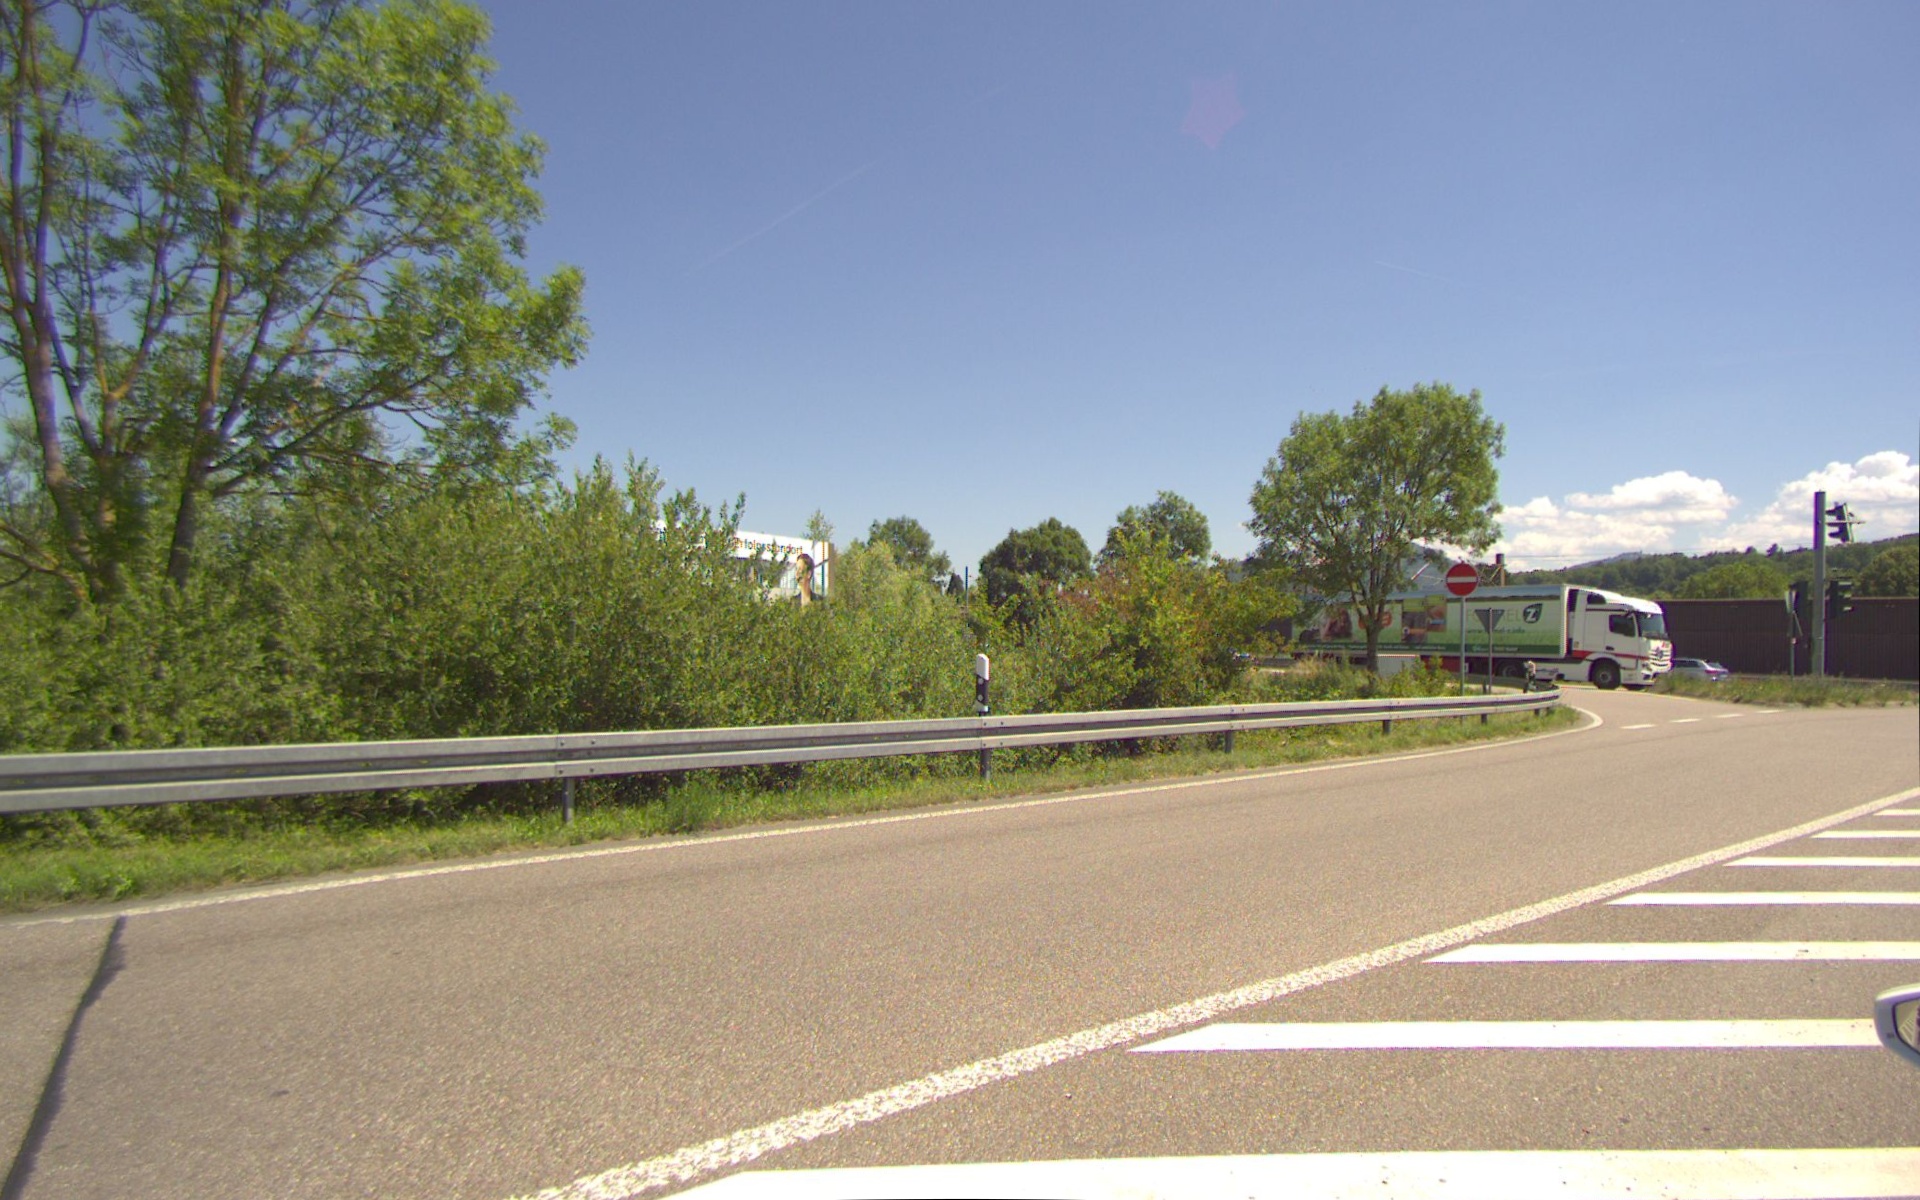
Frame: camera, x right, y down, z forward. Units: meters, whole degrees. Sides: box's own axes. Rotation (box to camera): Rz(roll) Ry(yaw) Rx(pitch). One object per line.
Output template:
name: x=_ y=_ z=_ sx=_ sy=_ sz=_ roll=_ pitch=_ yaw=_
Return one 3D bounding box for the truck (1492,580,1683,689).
truck: x=24.945 y=1.329 z=40.176 sx=3.028 sy=4.006 sz=5.735 roll=2 pitch=-1 yaw=-31

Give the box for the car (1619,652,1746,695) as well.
car: x=30.879 y=3.118 z=43.054 sx=1.976 sy=1.572 sz=3.969 roll=2 pitch=-1 yaw=-29

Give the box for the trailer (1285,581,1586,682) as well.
trailer: x=21.231 y=1.342 z=46.398 sx=3.028 sy=4.006 sz=13.073 roll=2 pitch=-1 yaw=-31
